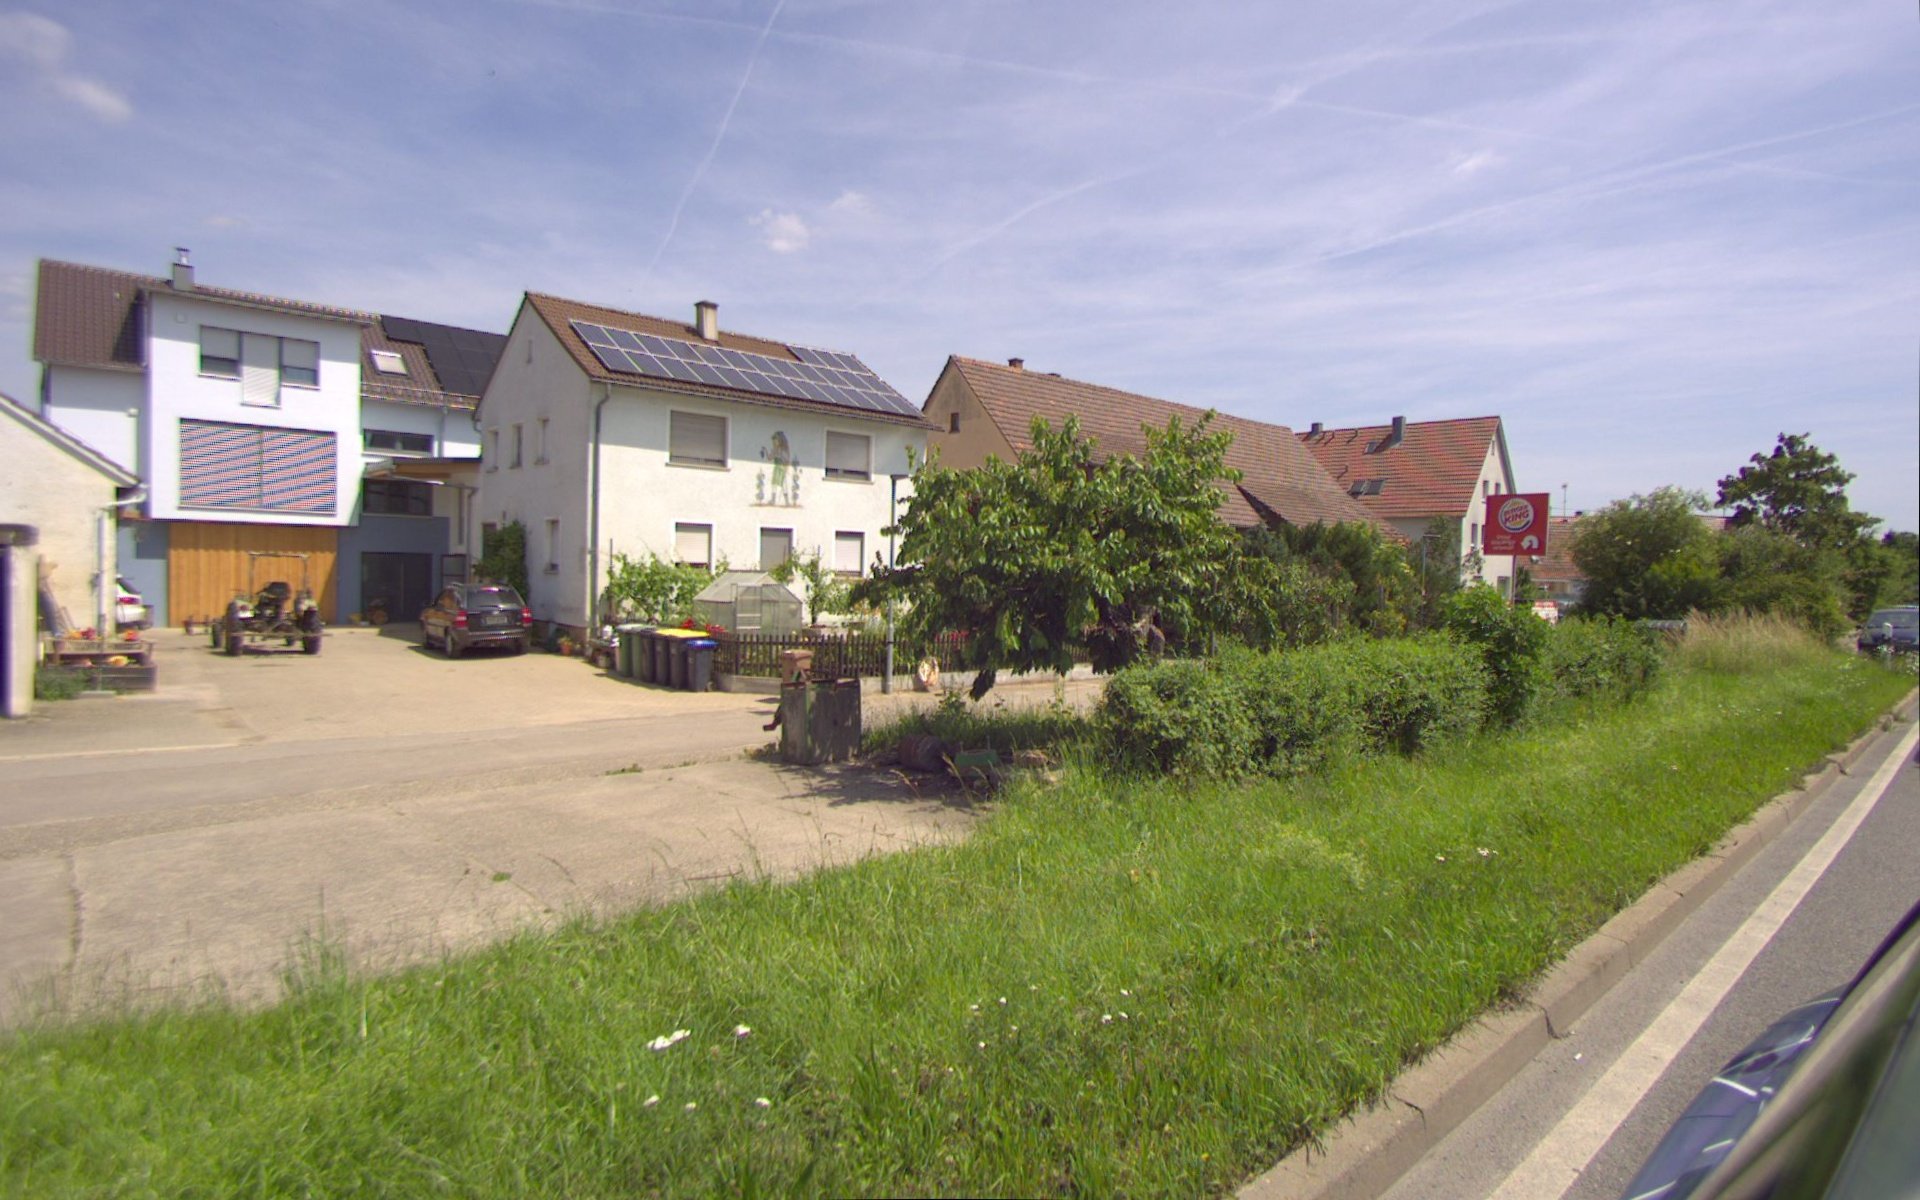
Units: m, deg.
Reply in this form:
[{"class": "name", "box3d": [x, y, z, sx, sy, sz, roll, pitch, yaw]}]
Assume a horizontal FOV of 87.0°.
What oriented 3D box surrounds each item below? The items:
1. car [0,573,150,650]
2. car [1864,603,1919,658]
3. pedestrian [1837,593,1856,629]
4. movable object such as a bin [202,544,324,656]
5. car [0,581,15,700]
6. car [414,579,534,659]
[{"class": "car", "box3d": [-20.637, 0.221, 22.588, 3.931, 1.638, 1.757, -1, 2, -41]}, {"class": "car", "box3d": [27.265, 0.844, 29.049, 3.493, 1.504, 1.632, 0, -2, -44]}, {"class": "pedestrian", "box3d": [38.619, 0.468, 44.094, 0.517, 1.568, 0.557, 1, 1, 29]}, {"class": "movable object such as a bin", "box3d": [-16.199, -0.052, 23.455, 2.041, 2.372, 3.719, 2, 1, -38]}, {"class": "car", "box3d": [-14.933, 0.572, 14.523, 1.802, 1.597, 3.995, -1, 2, -41]}, {"class": "car", "box3d": [-11.991, 0.377, 24.857, 1.811, 1.714, 3.958, -1, 3, -39]}]
